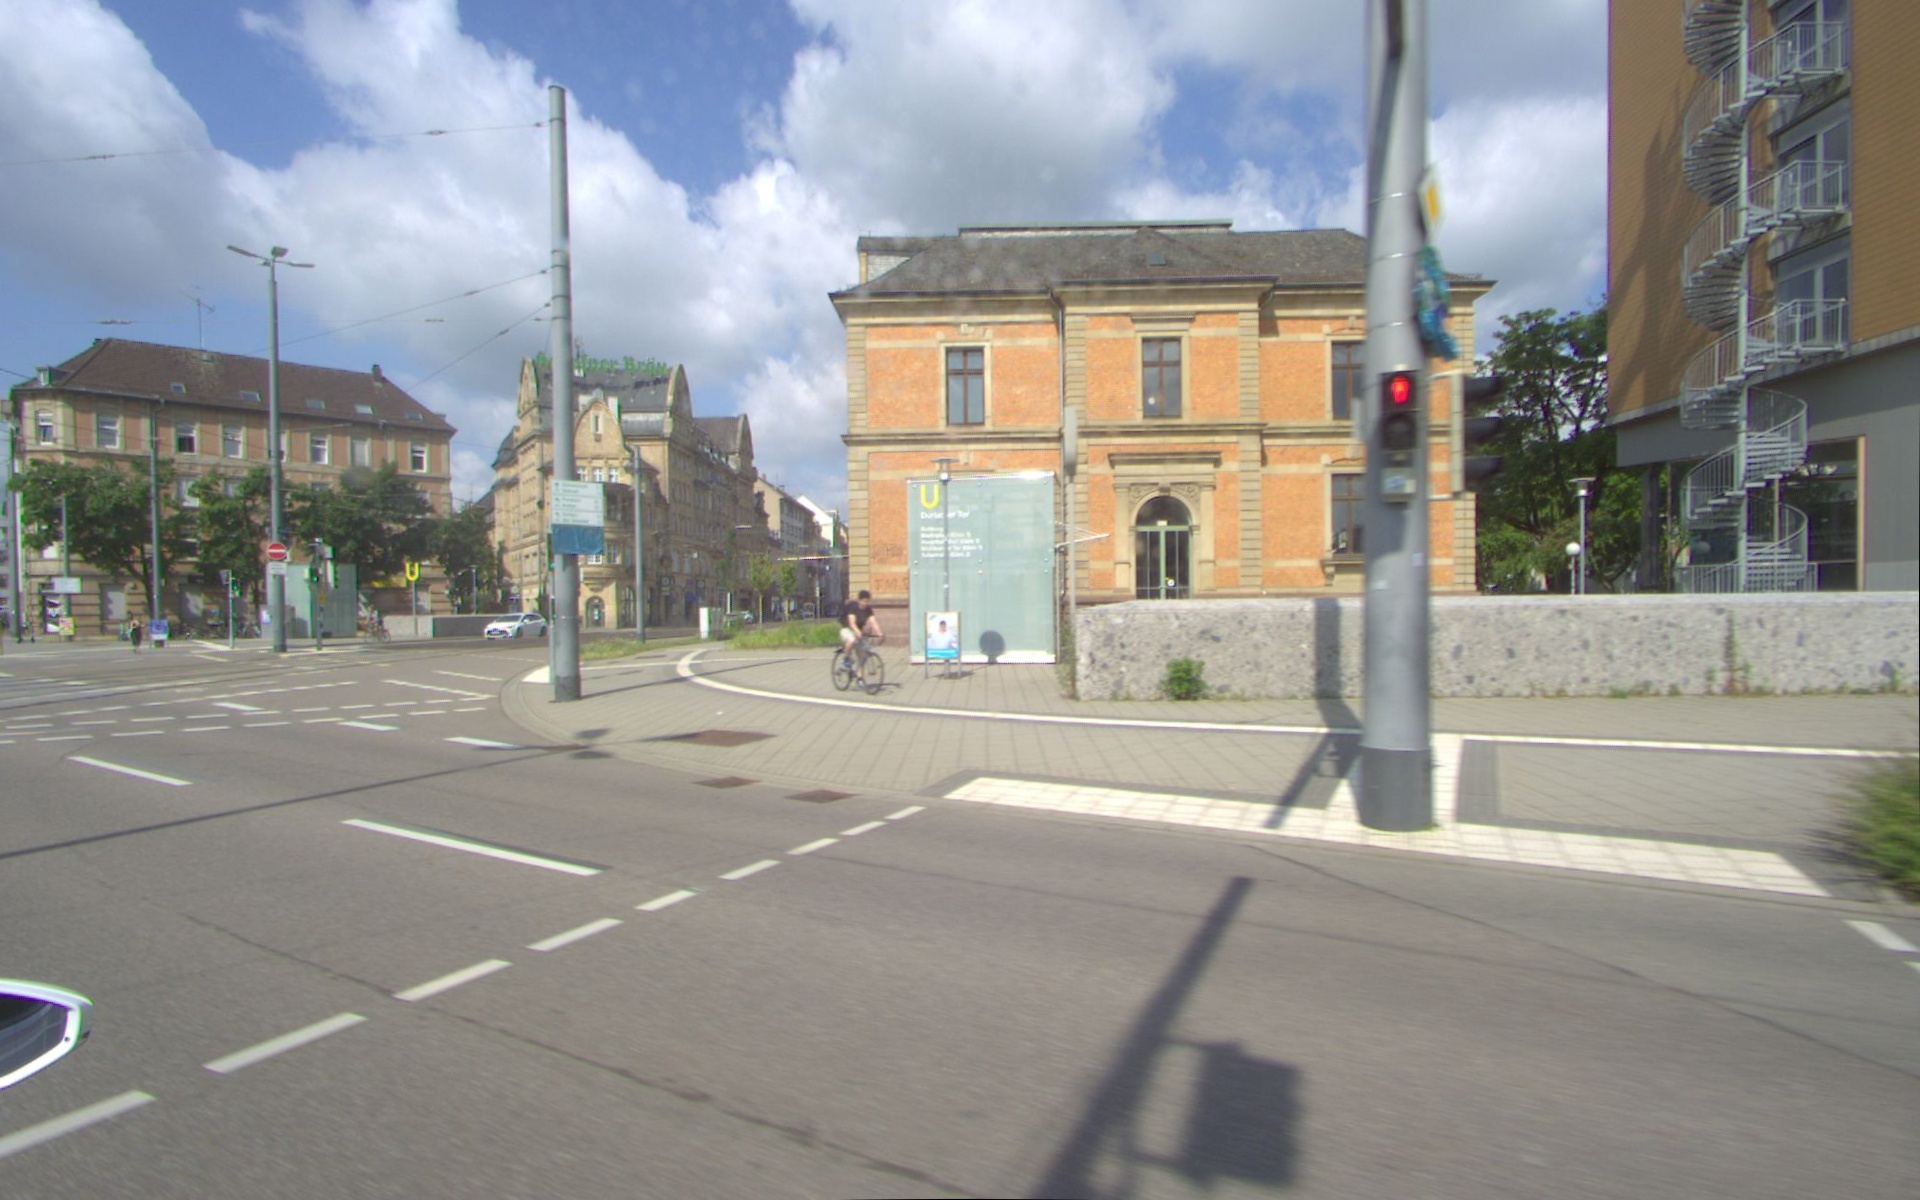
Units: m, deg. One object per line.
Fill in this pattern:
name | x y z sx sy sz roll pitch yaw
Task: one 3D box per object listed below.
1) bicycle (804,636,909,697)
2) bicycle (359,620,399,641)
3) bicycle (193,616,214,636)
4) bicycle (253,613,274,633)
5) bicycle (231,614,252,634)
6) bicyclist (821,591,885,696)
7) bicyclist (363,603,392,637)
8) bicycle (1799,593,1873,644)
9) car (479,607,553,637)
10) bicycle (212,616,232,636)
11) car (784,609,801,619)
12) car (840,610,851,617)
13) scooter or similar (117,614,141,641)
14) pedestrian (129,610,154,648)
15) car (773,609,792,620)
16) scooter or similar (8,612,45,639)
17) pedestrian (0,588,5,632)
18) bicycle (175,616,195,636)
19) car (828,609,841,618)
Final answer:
bicycle | -1.747 1.085 16.780 1.790 0.887 0.754 0 3 44
bicycle | -30.143 1.583 51.978 0.831 0.969 1.778 -2 0 10
bicycle | -45.742 1.577 60.538 0.753 1.181 2.660 1 -1 -42
bicycle | -43.652 1.431 62.727 0.753 1.181 2.660 -1 0 -42
bicycle | -44.252 1.477 61.674 0.753 1.181 2.660 -1 0 -42
bicyclist | -1.807 0.710 16.834 0.927 1.694 0.574 0 2 44
bicyclist | -30.172 1.024 51.885 0.605 1.697 1.145 -1 1 21
bicycle | 21.969 0.468 25.120 1.446 1.264 0.428 -1 0 1
car | -24.847 1.279 56.224 1.919 1.616 4.509 0 -2 4
bicycle | -45.070 1.582 61.106 0.753 1.180 2.662 1 -3 -41
car | -24.498 2.090 146.826 1.833 1.402 4.000 -1 0 0
car | -22.739 2.682 199.218 1.833 1.401 4.002 0 -2 0
scooter or similar | -47.903 1.582 57.715 0.872 1.502 1.995 -1 0 -44
pedestrian | -34.224 1.205 41.873 0.733 1.536 0.541 -1 0 -36
car | -24.832 2.022 140.114 1.833 1.402 4.001 -1 -1 0
scooter or similar | -51.607 1.430 55.353 2.772 1.403 1.171 -2 -2 40
pedestrian | -69.061 0.705 71.790 0.718 3.115 0.882 1 -2 -35
bicycle | -46.426 1.547 59.970 0.753 1.181 2.660 -1 0 -42
car | -23.170 2.513 184.974 1.833 1.401 4.002 0 -2 0
